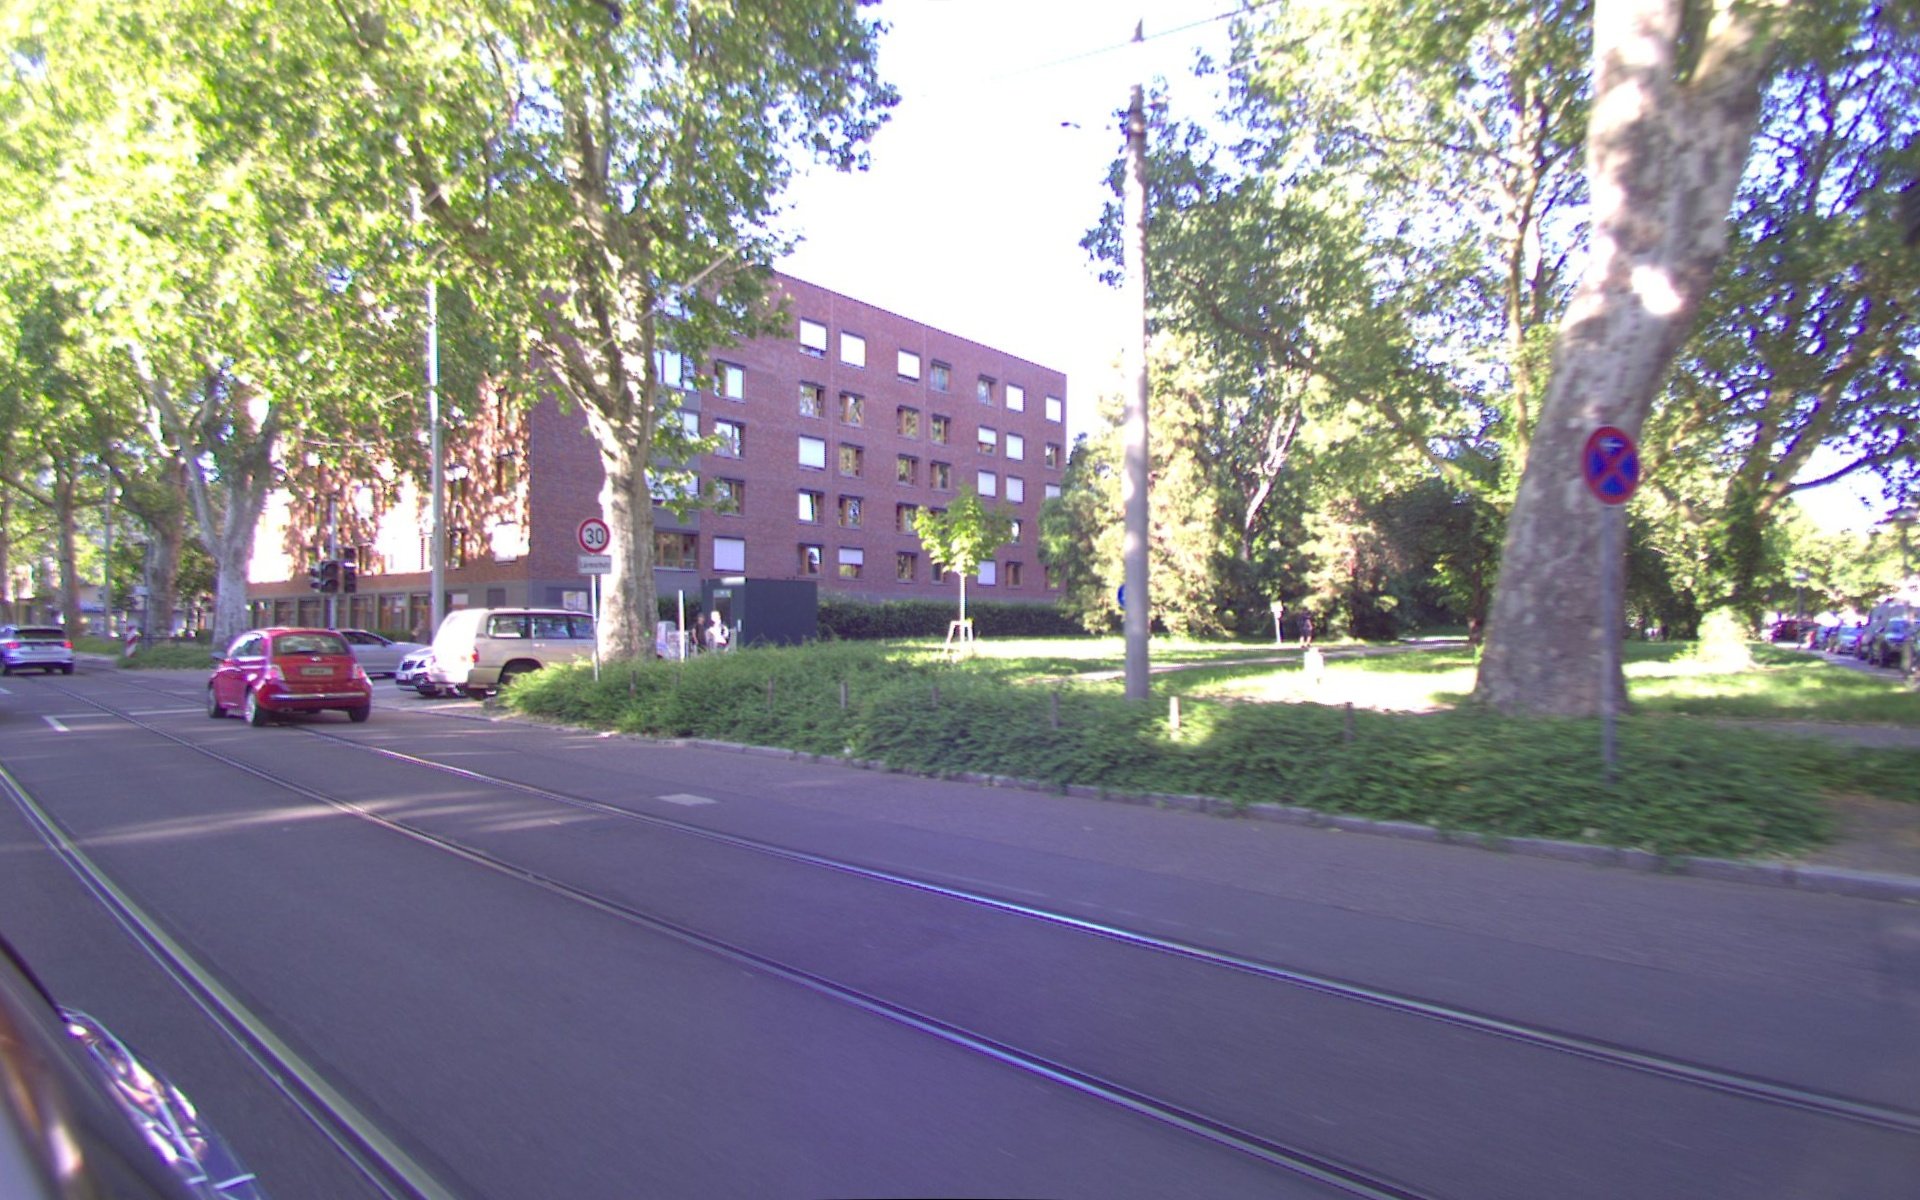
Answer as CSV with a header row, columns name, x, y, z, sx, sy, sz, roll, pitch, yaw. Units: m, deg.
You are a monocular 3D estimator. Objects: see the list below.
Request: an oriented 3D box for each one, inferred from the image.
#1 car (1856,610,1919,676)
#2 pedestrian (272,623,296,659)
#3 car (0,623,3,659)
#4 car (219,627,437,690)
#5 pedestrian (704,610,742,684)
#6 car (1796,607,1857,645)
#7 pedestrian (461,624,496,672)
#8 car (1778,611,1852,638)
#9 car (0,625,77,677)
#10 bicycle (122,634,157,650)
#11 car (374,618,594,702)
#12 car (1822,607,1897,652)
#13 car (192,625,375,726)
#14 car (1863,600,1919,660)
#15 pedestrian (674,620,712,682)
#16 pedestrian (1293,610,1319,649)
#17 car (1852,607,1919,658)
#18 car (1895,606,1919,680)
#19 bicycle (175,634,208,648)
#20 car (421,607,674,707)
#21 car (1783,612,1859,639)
name,x,y,z,sx,sy,sz,roll,pitch,yaw
car,31.002,1.338,32.886,1.993,2.029,4.694,-1,-1,32
pedestrian,-33.604,2.027,50.295,0.971,1.757,0.756,-1,-1,40
car,-40.760,1.678,41.527,4.202,1.472,1.757,-1,-1,41
car,-17.223,1.529,27.789,1.952,1.471,4.718,-1,-1,38
pedestrian,-5.955,1.171,25.455,0.636,1.823,0.752,0,-1,-44
car,49.072,1.430,57.419,1.994,2.029,4.692,-1,-1,33
pedestrian,-17.954,1.758,37.721,0.914,1.750,0.835,-1,-1,36
car,74.753,2.157,88.545,4.734,2.261,1.976,-1,-1,35
car,-29.873,1.598,32.382,4.113,1.580,1.797,-1,-3,41
bicycle,-64.018,3.249,78.989,2.067,1.198,0.883,0,-1,-34
car,-10.619,1.264,22.808,1.900,1.659,4.099,-1,-1,39
car,43.377,1.375,48.898,1.994,2.029,4.692,-1,-1,33
car,-11.146,1.150,16.606,3.471,1.455,1.643,-1,-1,41
car,36.464,1.110,39.005,2.040,2.214,4.686,-1,-1,37
pedestrian,-7.539,1.422,28.556,0.778,1.686,0.702,-1,-1,40
pedestrian,15.002,1.274,43.838,0.766,1.686,0.714,0,-1,-33
car,39.771,1.340,43.273,1.997,2.029,4.686,-1,-1,37
car,27.487,1.183,27.708,1.993,2.029,3.957,-1,-1,32
bicycle,-61.772,3.282,81.345,2.011,1.102,0.821,-1,-1,3
car,-8.479,1.086,21.128,1.937,1.848,4.524,-1,-1,40
car,73.468,2.143,86.446,4.734,2.261,1.976,-1,-1,35
